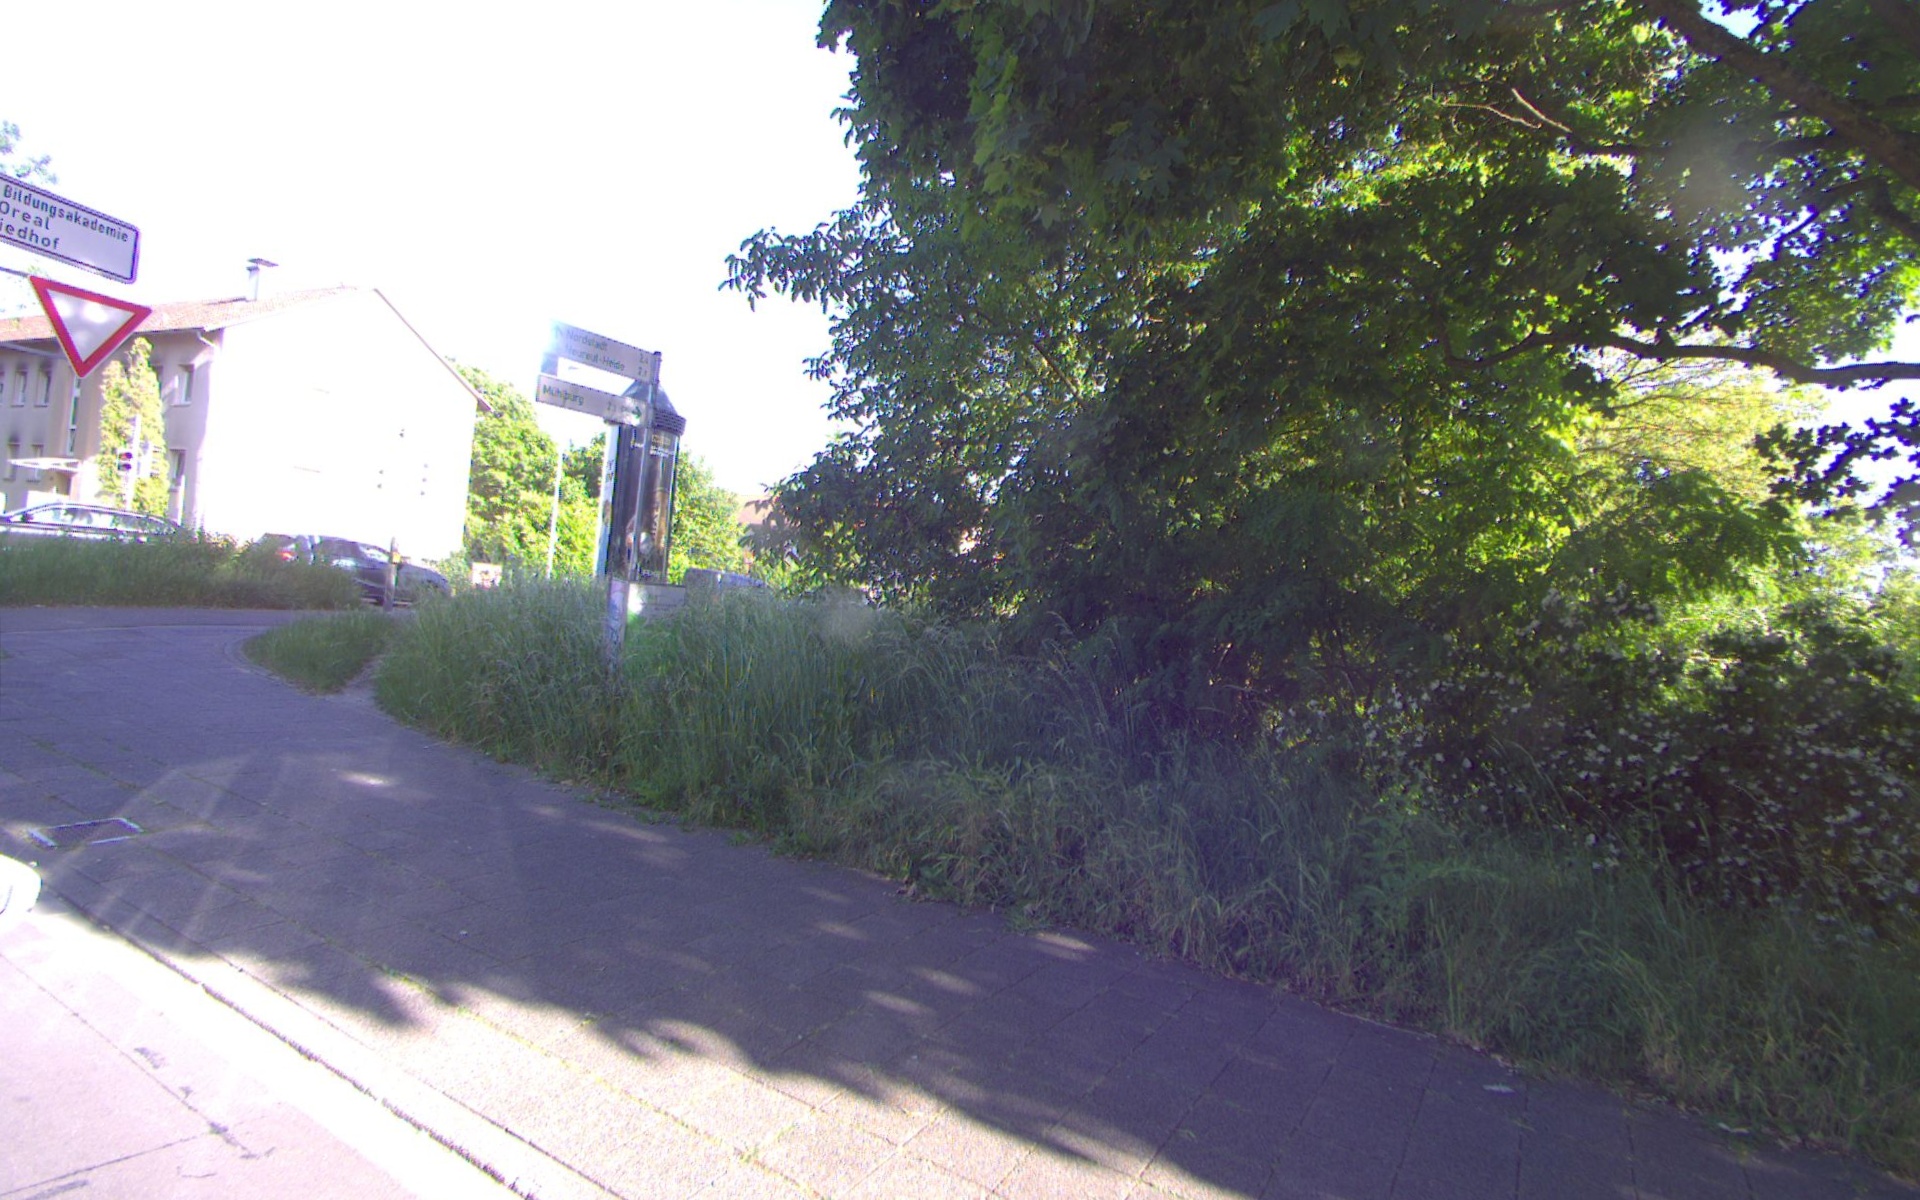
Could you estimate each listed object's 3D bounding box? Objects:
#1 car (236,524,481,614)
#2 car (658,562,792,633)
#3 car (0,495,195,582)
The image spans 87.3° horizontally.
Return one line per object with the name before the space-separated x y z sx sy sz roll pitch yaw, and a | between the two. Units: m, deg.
car | -13.380 -0.633 22.661 1.881 1.507 4.290 7 0 29
car | -7.761 -0.021 33.654 1.827 1.910 4.354 7 0 27
car | -19.774 -1.421 21.712 1.968 1.447 4.731 7 -1 35
